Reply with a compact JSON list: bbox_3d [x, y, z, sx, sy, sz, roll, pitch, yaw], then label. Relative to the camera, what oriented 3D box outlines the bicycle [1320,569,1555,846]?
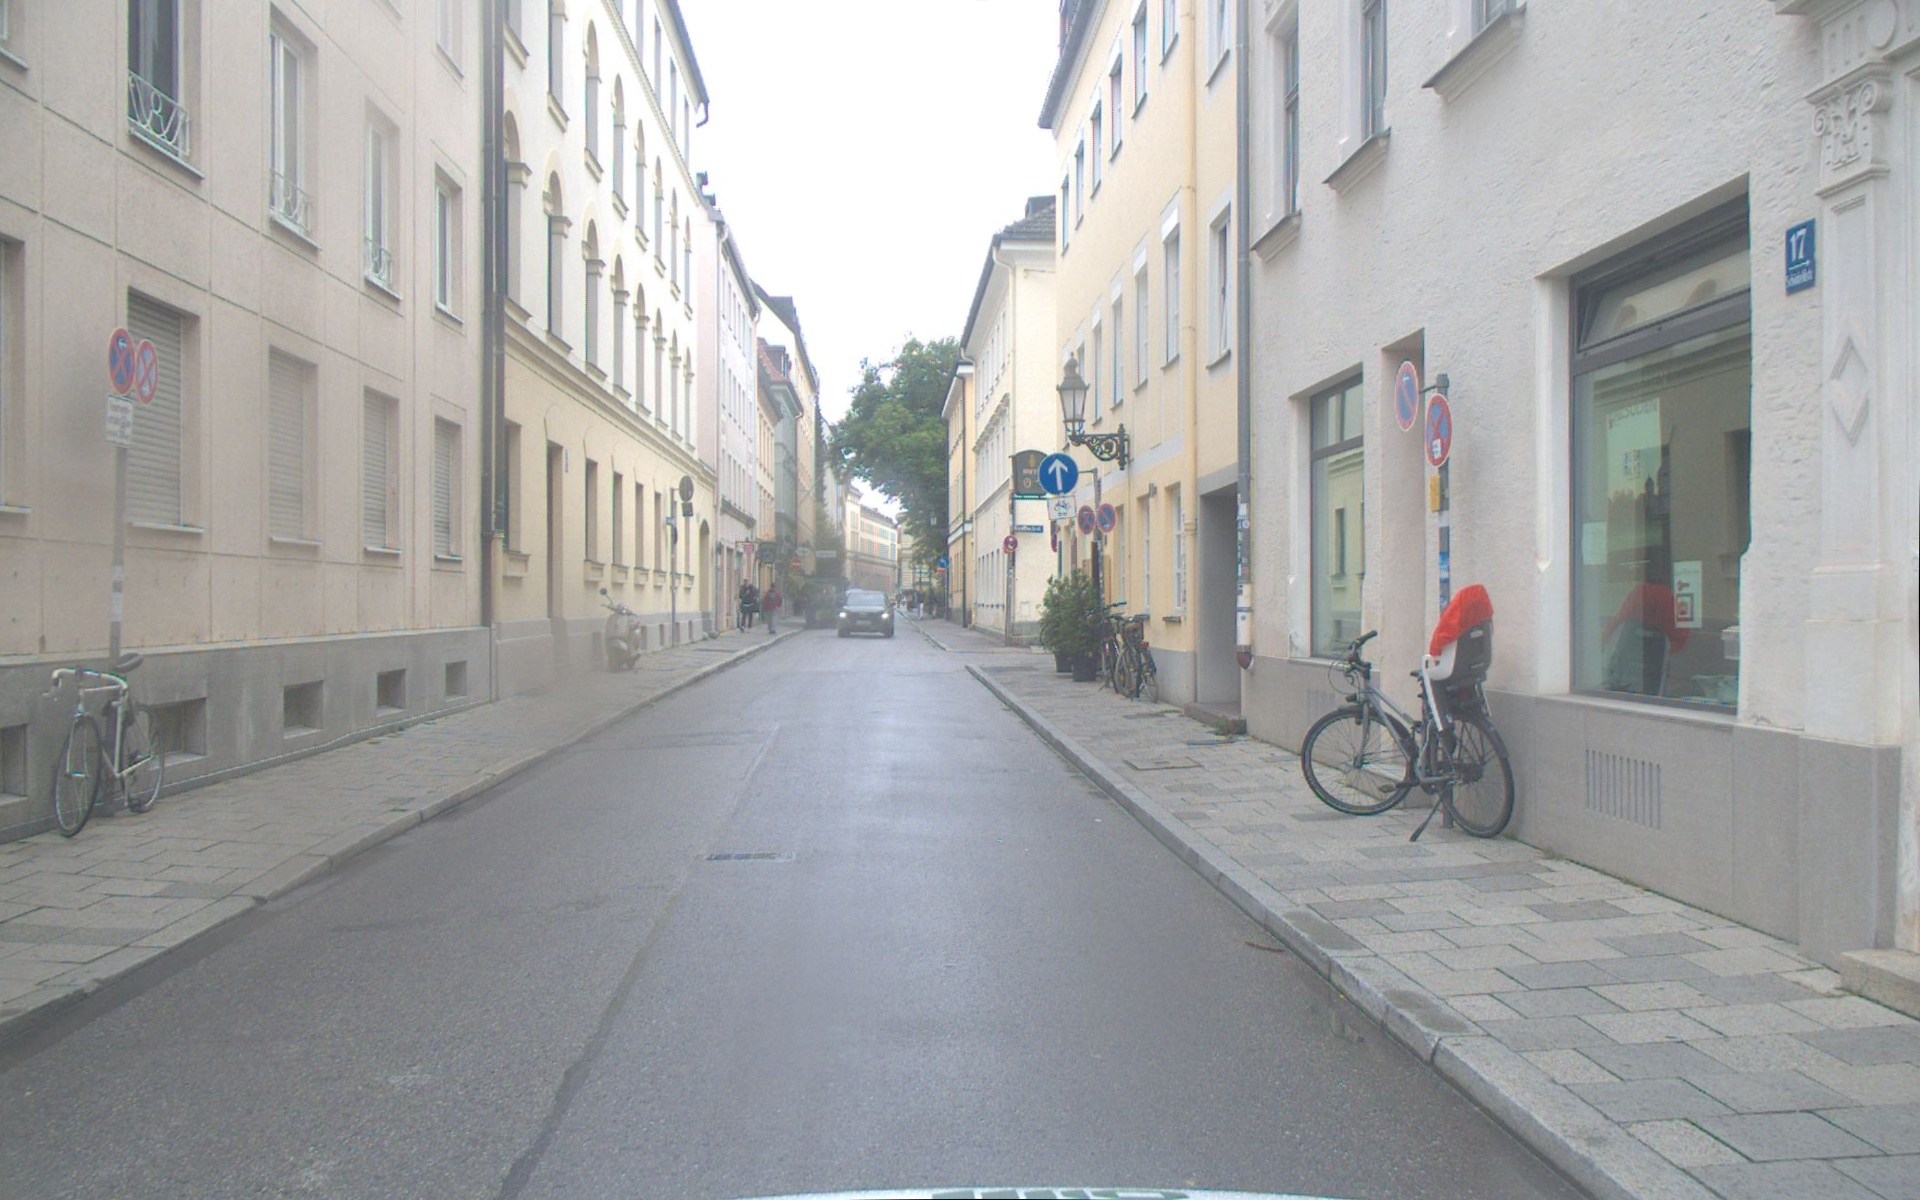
[{"bbox_3d":[2.730,0.553,9.716,0.699,1.420,2.121,-2,0,0],"label":"bicycle"}]

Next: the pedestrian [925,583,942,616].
[{"bbox_3d":[-1.483,-0.030,91.971,0.862,1.833,1.046,1,0,-2],"label":"pedestrian"}]

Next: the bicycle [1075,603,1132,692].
[{"bbox_3d":[1.980,0.636,22.994,0.554,1.156,1.683,-2,0,-2],"label":"bicycle"}]

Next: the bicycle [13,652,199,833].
[{"bbox_3d":[-5.237,0.840,10.226,0.313,0.960,1.573,3,0,-1],"label":"bicycle"}]

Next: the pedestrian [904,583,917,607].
[{"bbox_3d":[-3.898,-0.384,129.324,0.995,1.833,1.348,1,0,-2],"label":"pedestrian"}]

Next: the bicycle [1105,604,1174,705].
[{"bbox_3d":[2.233,0.654,20.786,0.554,1.156,1.987,-2,0,-2],"label":"bicycle"}]

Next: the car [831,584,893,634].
[{"bbox_3d":[-3.276,0.288,55.803,1.775,1.621,4.001,0,0,1],"label":"car"}]

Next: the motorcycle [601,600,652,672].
[{"bbox_3d":[-5.742,0.599,28.558,0.590,1.194,1.708,1,0,-2],"label":"motorcycle"}]

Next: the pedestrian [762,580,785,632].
[{"bbox_3d":[-6.357,0.202,56.547,0.751,1.738,0.784,0,0,-5],"label":"pedestrian"}]

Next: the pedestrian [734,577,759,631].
[{"bbox_3d":[-7.203,0.130,55.859,0.793,1.786,0.989,1,1,-5],"label":"pedestrian"}]
